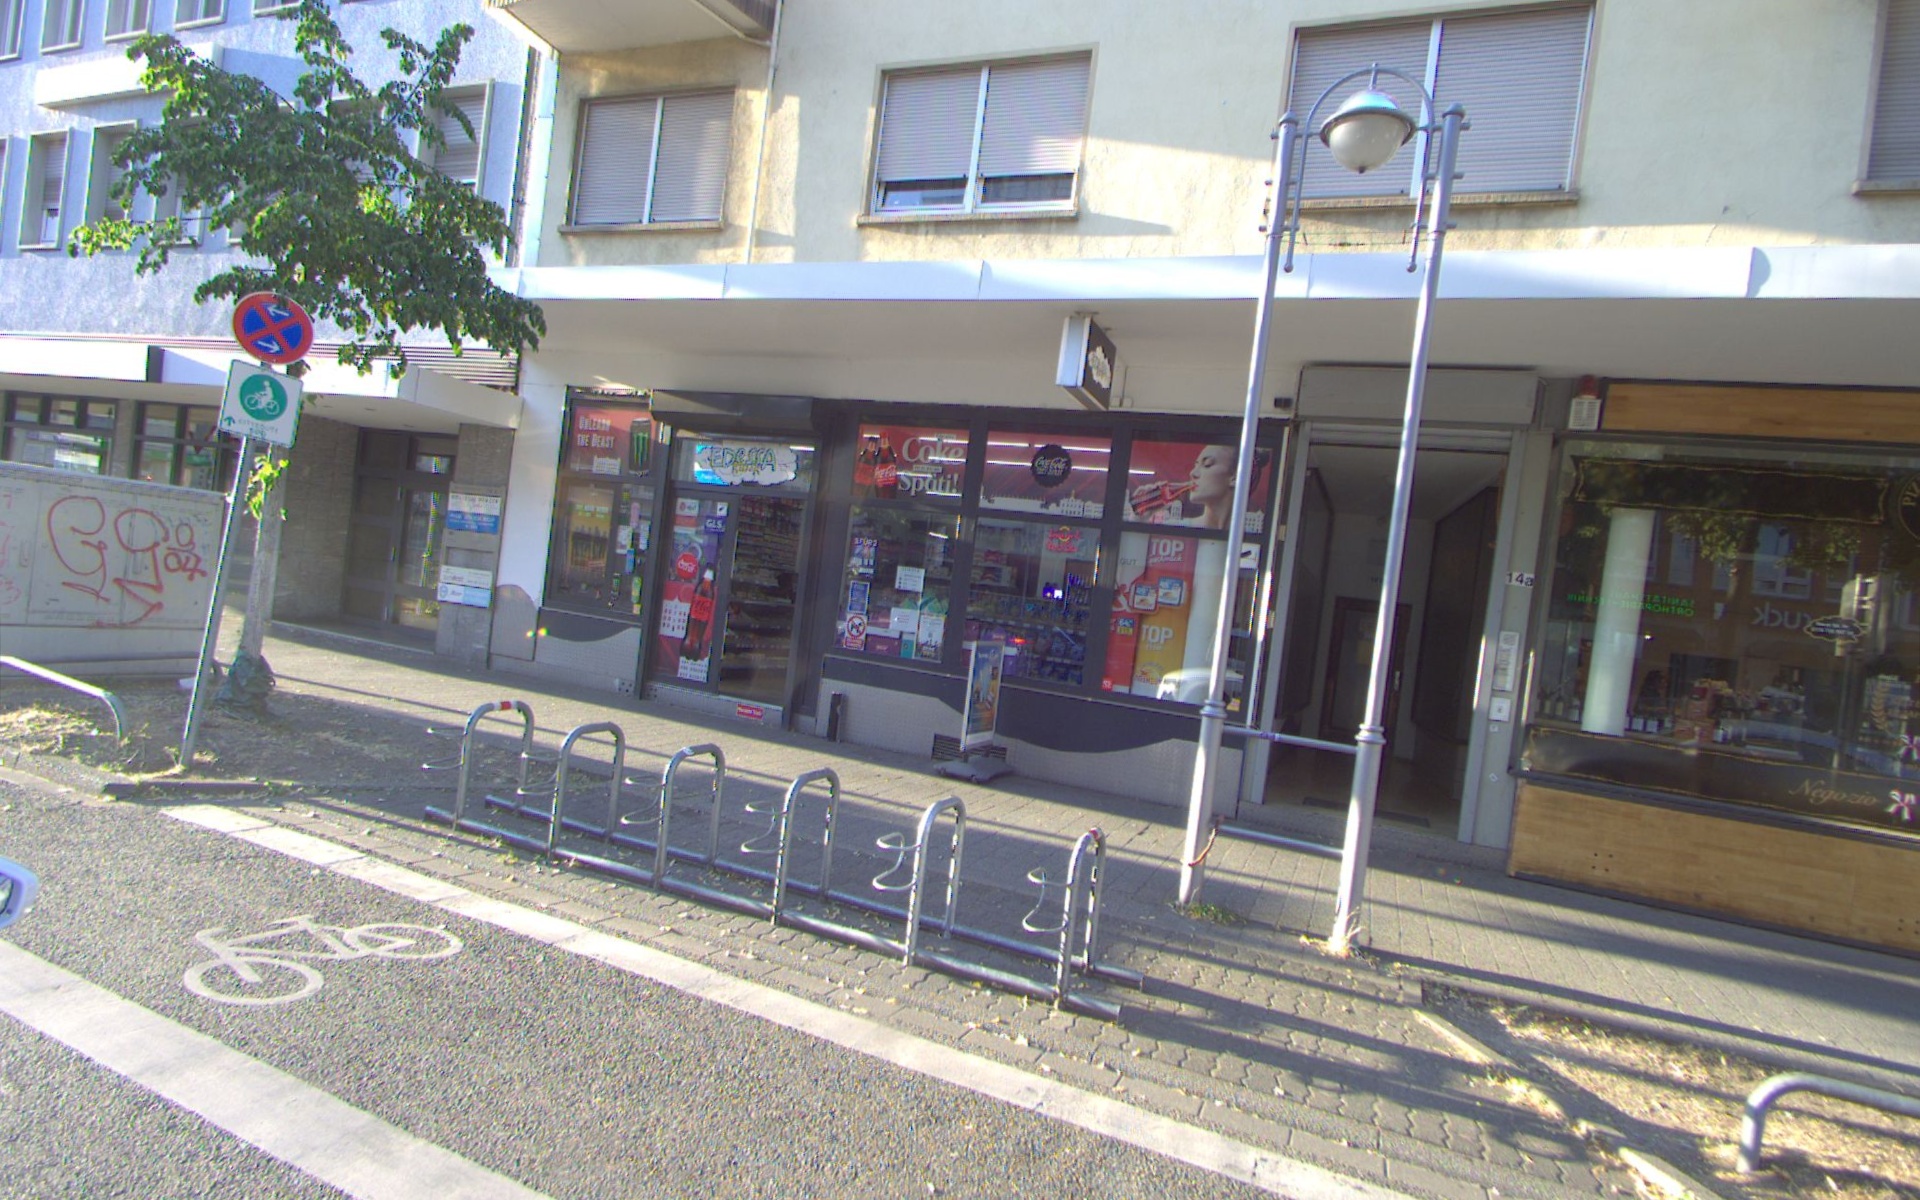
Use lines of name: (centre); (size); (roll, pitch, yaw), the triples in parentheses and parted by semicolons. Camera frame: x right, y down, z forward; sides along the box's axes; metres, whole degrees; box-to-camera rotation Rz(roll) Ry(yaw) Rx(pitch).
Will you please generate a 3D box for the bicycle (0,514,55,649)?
bicycle: (-9.262, -0.227, 9.105); (0.376, 1.234, 1.446); (7, -1, 25)
